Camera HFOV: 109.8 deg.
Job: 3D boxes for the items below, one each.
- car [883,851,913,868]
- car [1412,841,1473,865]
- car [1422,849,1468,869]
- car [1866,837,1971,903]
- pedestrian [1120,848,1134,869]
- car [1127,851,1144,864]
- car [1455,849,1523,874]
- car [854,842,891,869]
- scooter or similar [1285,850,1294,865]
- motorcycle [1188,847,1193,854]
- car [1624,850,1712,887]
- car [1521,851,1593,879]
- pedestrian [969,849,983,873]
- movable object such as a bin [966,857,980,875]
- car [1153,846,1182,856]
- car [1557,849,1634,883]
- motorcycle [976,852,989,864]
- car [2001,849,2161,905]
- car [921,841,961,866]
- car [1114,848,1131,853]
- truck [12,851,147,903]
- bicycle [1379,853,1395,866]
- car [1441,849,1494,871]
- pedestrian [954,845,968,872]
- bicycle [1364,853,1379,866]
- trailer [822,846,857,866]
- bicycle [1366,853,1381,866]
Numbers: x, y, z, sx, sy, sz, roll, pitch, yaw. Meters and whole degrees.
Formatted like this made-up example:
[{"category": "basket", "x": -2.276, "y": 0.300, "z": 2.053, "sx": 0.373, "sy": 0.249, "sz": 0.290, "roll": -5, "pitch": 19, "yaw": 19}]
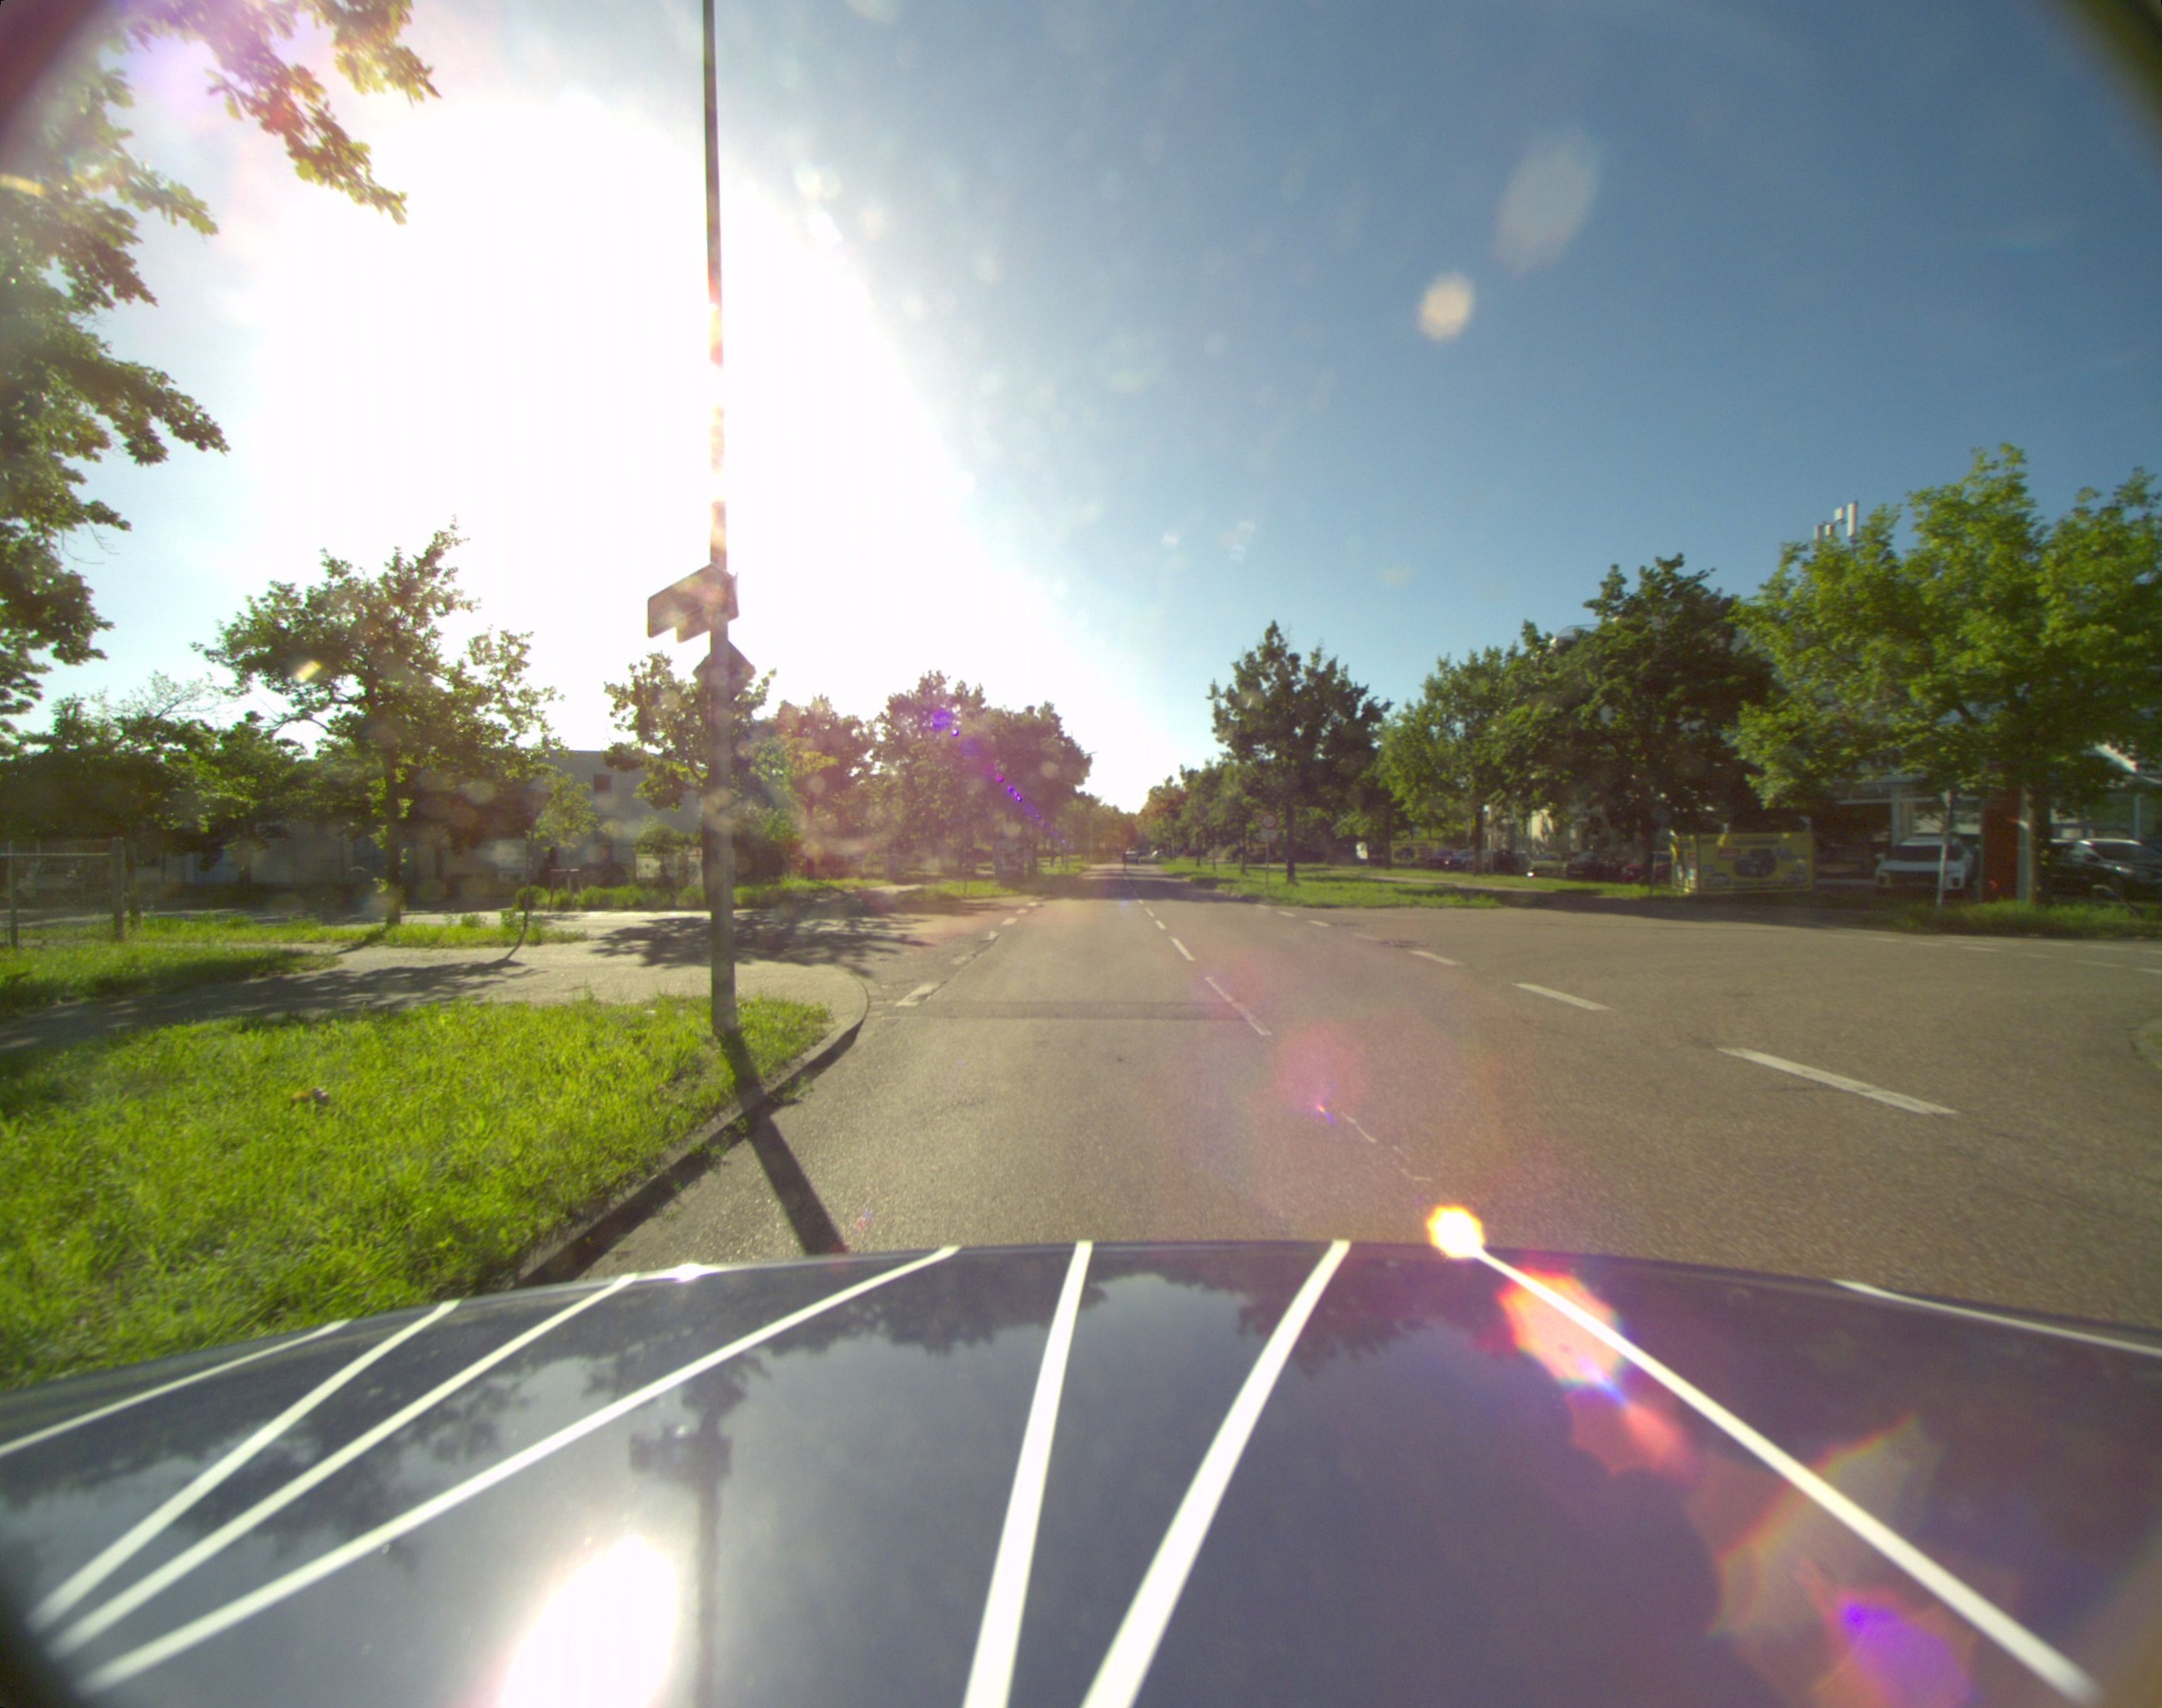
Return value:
[{"category": "car", "x": -18.288, "y": 0.488, "z": 76.027, "sx": 2.010, "sy": 1.654, "sz": 3.597, "roll": 0, "pitch": 1, "yaw": 3}, {"category": "car", "x": 28.651, "y": -0.075, "z": 60.347, "sx": 4.023, "sy": 1.773, "sz": 2.027, "roll": -2, "pitch": 0, "yaw": 14}, {"category": "car", "x": 26.694, "y": 0.334, "z": 55.638, "sx": 4.008, "sy": 1.440, "sz": 1.796, "roll": -1, "pitch": 1, "yaw": -44}, {"category": "car", "x": 27.648, "y": 0.456, "z": 25.034, "sx": 4.868, "sy": 2.002, "sz": 1.994, "roll": -1, "pitch": 1, "yaw": -39}, {"category": "pedestrian", "x": 3.721, "y": 0.329, "z": 61.077, "sx": 1.022, "sy": 1.642, "sz": 1.099, "roll": 0, "pitch": 1, "yaw": -1}, {"category": "car", "x": 6.312, "y": 0.356, "z": 88.467, "sx": 1.748, "sy": 1.456, "sz": 4.427, "roll": 0, "pitch": 0, "yaw": 1}, {"category": "car", "x": 26.178, "y": 0.459, "z": 48.750, "sx": 4.005, "sy": 1.502, "sz": 1.797, "roll": -1, "pitch": 0, "yaw": -26}, {"category": "car", "x": -20.914, "y": 0.107, "z": 76.536, "sx": 2.165, "sy": 2.628, "sz": 4.851, "roll": 0, "pitch": 1, "yaw": 3}, {"category": "scooter or similar", "x": 17.956, "y": 0.300, "z": 65.436, "sx": 0.396, "sy": 1.272, "sz": 1.441, "roll": 0, "pitch": 1, "yaw": 4}, {"category": "motorcycle", "x": 21.781, "y": -0.660, "z": 151.231, "sx": 0.739, "sy": 1.424, "sz": 1.992, "roll": -4, "pitch": 0, "yaw": 6}, {"category": "car", "x": 25.932, "y": 0.592, "z": 33.535, "sx": 4.178, "sy": 1.482, "sz": 1.995, "roll": -1, "pitch": 1, "yaw": -36}, {"category": "car", "x": 24.962, "y": 0.532, "z": 39.792, "sx": 3.961, "sy": 1.393, "sz": 1.994, "roll": -1, "pitch": 1, "yaw": -38}, {"category": "pedestrian", "x": -6.956, "y": 0.465, "z": 50.337, "sx": 0.727, "sy": 1.594, "sz": 0.867, "roll": 0, "pitch": 1, "yaw": 3}, {"category": "movable object such as a bin", "x": -7.029, "y": 0.776, "z": 49.448, "sx": 0.727, "sy": 1.075, "sz": 0.867, "roll": 1, "pitch": 1, "yaw": 3}, {"category": "car", "x": 14.874, "y": -0.480, "z": 131.029, "sx": 4.637, "sy": 1.549, "sz": 2.191, "roll": -2, "pitch": 0, "yaw": 1}, {"category": "car", "x": 24.635, "y": 0.521, "z": 36.328, "sx": 4.178, "sy": 1.529, "sz": 1.891, "roll": -1, "pitch": 1, "yaw": -38}, {"category": "motorcycle", "x": -12.588, "y": 0.512, "z": 97.305, "sx": 0.663, "sy": 1.225, "sz": 2.407, "roll": 0, "pitch": 5, "yaw": 15}, {"category": "car", "x": 31.300, "y": 0.624, "z": 23.184, "sx": 1.996, "sy": 1.562, "sz": 4.174, "roll": 0, "pitch": 0, "yaw": 13}, {"category": "car", "x": -15.959, "y": -0.005, "z": 87.199, "sx": 2.087, "sy": 2.550, "sz": 5.981, "roll": -2, "pitch": -2, "yaw": 15}, {"category": "car", "x": 11.457, "y": -1.015, "z": 208.747, "sx": 4.509, "sy": 1.471, "sz": 1.942, "roll": 0, "pitch": 1, "yaw": 7}, {"category": "truck", "x": -43.991, "y": 0.968, "z": 33.383, "sx": 5.142, "sy": 2.101, "sz": 2.002, "roll": 0, "pitch": 3, "yaw": 20}, {"category": "bicycle", "x": 25.265, "y": 0.435, "z": 62.799, "sx": 0.640, "sy": 1.081, "sz": 1.891, "roll": 0, "pitch": 1, "yaw": 3}, {"category": "car", "x": 26.475, "y": 0.379, "z": 52.000, "sx": 4.008, "sy": 1.440, "sz": 1.796, "roll": -1, "pitch": 1, "yaw": -40}, {"category": "pedestrian", "x": -7.857, "y": 0.306, "z": 49.713, "sx": 0.727, "sy": 1.745, "sz": 0.867, "roll": 0, "pitch": 1, "yaw": 3}, {"category": "bicycle", "x": 24.669, "y": 0.422, "z": 64.546, "sx": 0.640, "sy": 1.081, "sz": 1.891, "roll": 0, "pitch": 1, "yaw": 3}, {"category": "trailer", "x": -28.504, "y": 0.242, "z": 89.938, "sx": 2.192, "sy": 2.294, "sz": 3.793, "roll": 0, "pitch": 1, "yaw": 15}, {"category": "bicycle", "x": 24.284, "y": 0.445, "z": 63.157, "sx": 0.640, "sy": 1.081, "sz": 1.891, "roll": 0, "pitch": 1, "yaw": 3}]
